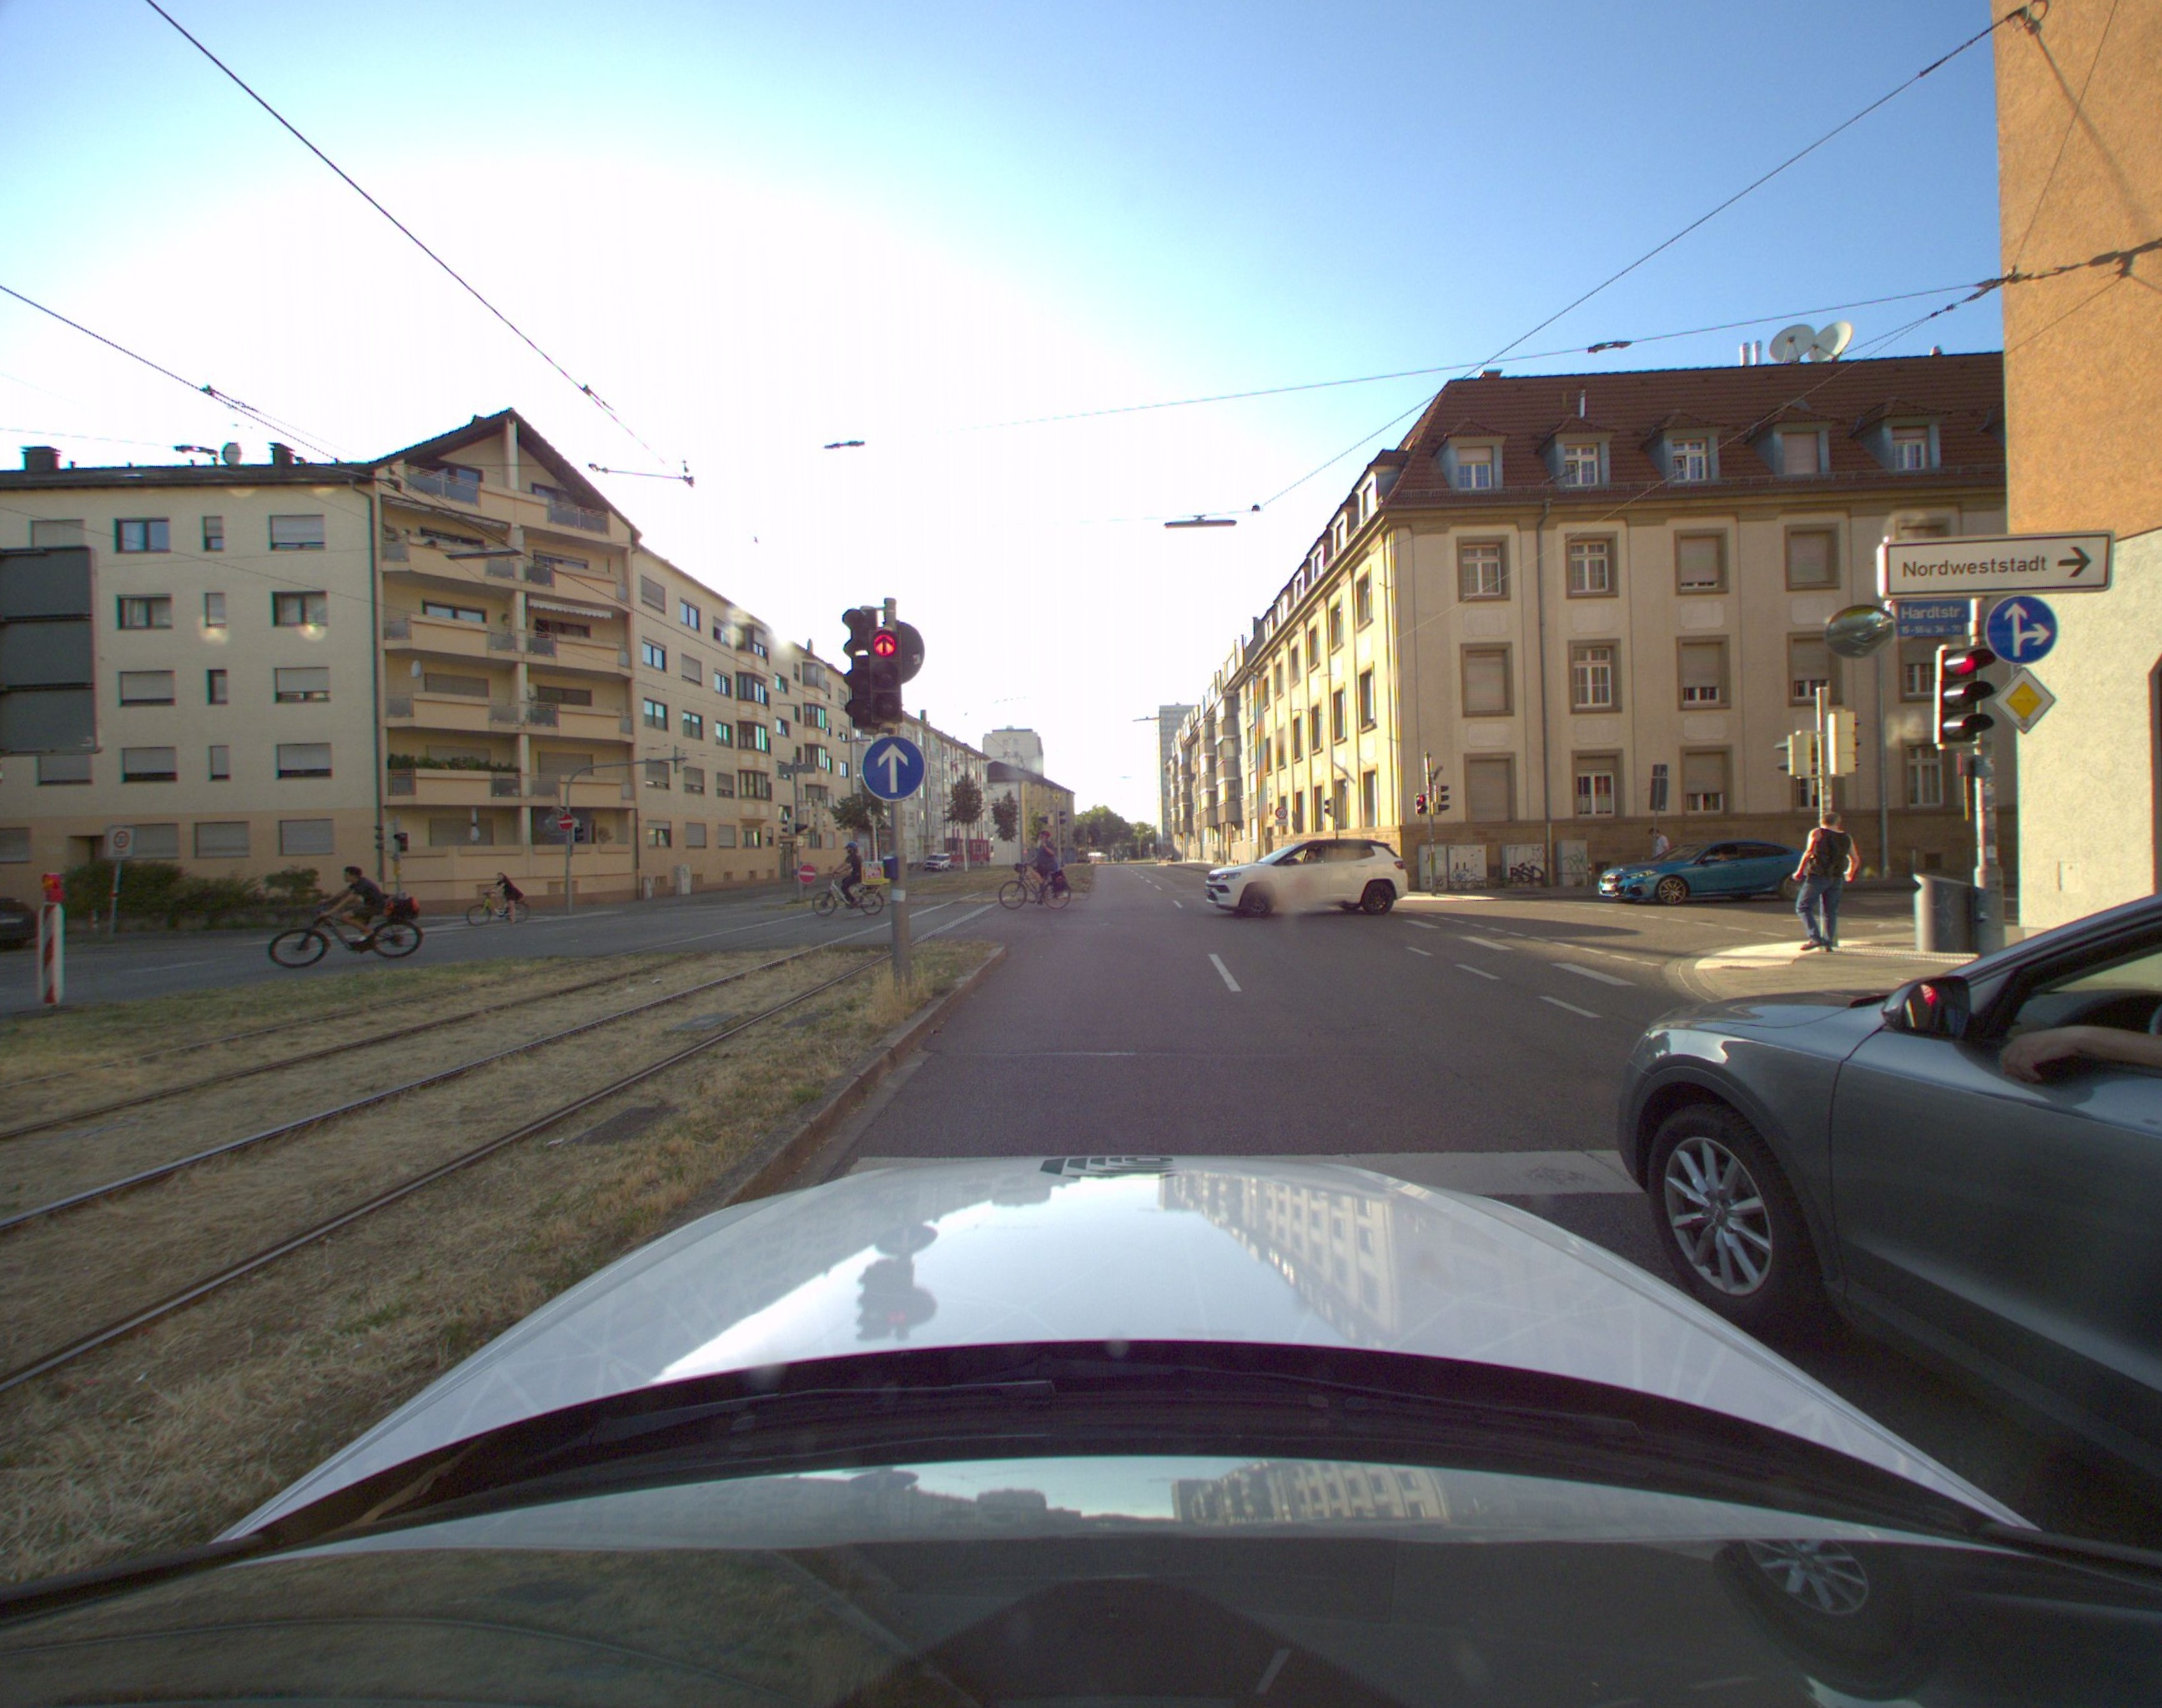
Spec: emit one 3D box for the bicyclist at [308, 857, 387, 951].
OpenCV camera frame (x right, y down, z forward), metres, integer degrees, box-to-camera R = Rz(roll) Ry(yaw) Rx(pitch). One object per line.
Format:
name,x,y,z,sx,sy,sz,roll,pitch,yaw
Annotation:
bicyclist,-12.532,0.835,13.922,0.640,1.526,0.912,-2,0,42

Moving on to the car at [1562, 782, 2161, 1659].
car,2.790,0.628,1.235,1.763,1.575,4.087,-2,0,2

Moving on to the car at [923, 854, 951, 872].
car,-14.420,0.888,81.801,1.804,1.798,4.248,0,-1,3

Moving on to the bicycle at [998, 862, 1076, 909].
bicycle,-1.119,0.799,20.945,1.938,1.094,0.575,-2,0,-1

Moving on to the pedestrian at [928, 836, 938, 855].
pedestrian,-15.890,-0.880,87.448,0.784,2.013,0.890,-2,0,-2

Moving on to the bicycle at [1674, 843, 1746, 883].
bicycle,18.438,0.256,23.899,1.556,1.117,0.669,-2,0,2

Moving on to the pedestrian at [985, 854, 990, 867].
pedestrian,-12.729,0.869,110.895,0.493,1.658,0.409,-2,0,2

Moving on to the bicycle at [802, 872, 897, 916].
bicycle,-5.667,0.976,19.990,2.066,0.958,0.746,-2,0,-1

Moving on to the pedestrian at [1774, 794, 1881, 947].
pedestrian,9.441,0.204,10.331,0.690,1.875,0.718,0,-1,1

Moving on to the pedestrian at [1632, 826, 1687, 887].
pedestrian,16.505,0.070,23.258,1.033,1.682,0.669,-2,0,1

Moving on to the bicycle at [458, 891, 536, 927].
bicycle,-18.162,1.687,25.379,0.522,0.984,1.895,-2,0,32

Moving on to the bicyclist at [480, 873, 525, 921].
bicyclist,-18.100,1.342,25.500,0.522,1.447,0.971,-2,0,32

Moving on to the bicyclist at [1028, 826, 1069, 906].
bicyclist,-0.817,0.293,20.957,0.957,1.988,0.672,-2,0,-1

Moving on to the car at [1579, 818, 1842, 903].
car,14.352,0.161,18.791,4.441,1.729,2.001,-2,-1,2

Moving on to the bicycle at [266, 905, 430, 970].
bicycle,-12.516,1.392,13.960,0.776,0.894,1.997,-2,0,41

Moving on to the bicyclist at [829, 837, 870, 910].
bicyclist,-5.671,0.471,19.982,0.791,1.753,0.720,0,-1,0

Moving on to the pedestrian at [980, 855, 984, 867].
pedestrian,-13.451,0.923,110.566,0.493,1.658,0.409,-2,0,2

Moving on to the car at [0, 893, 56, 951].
car,-30.143,1.883,21.368,3.950,1.440,1.788,-2,0,-4

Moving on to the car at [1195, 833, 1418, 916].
car,4.935,0.423,18.245,4.409,1.641,1.997,-1,0,-4
